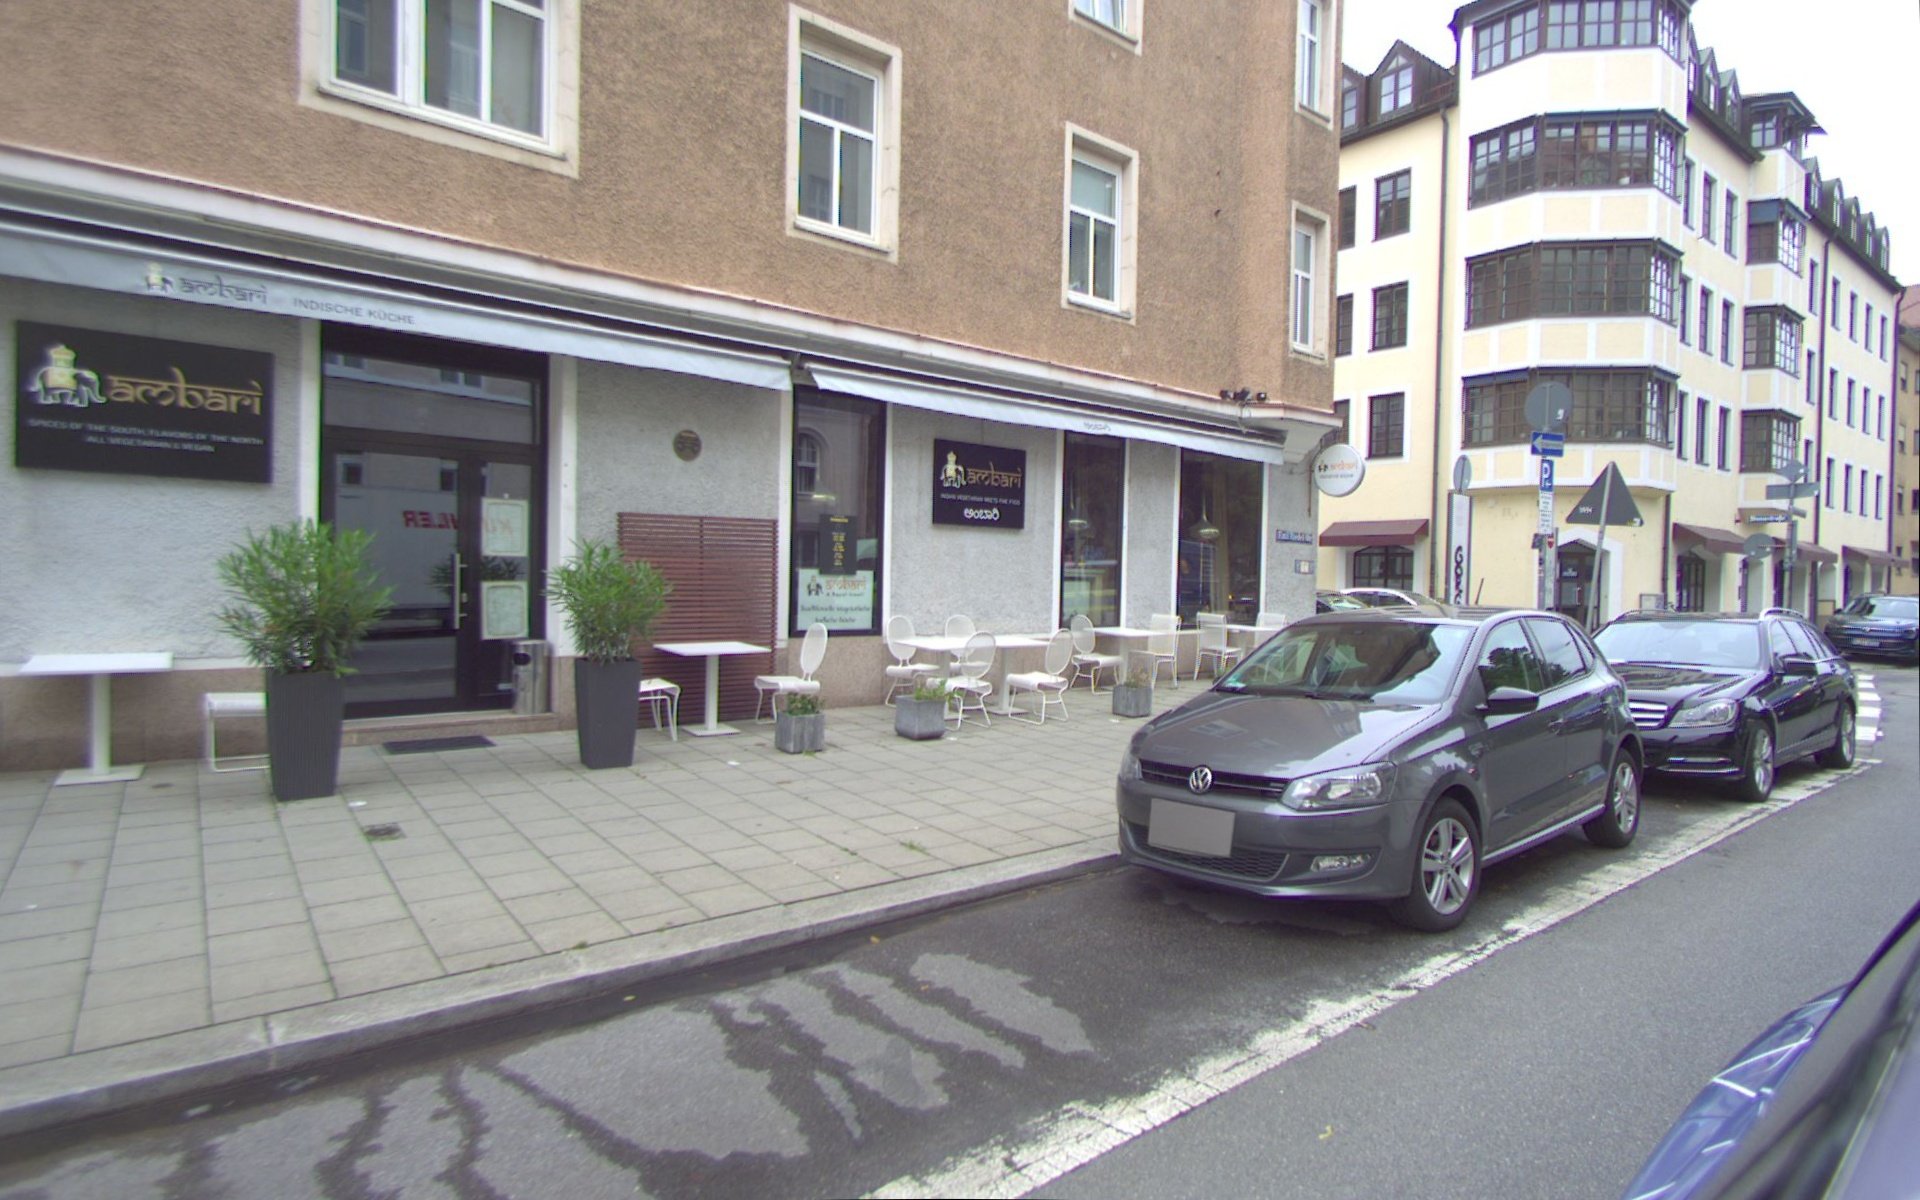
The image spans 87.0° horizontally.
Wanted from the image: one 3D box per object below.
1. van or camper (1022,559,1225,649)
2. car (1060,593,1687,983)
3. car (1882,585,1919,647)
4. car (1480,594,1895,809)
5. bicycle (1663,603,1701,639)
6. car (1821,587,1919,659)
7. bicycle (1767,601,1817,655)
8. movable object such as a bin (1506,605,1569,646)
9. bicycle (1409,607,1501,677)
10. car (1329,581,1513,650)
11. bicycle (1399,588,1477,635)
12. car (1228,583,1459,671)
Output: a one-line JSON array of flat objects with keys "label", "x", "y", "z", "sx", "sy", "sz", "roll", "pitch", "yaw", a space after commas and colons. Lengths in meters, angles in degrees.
[{"label": "van or camper", "x": 3.826, "y": -0.009, "z": 24.502, "sx": 1.925, "sy": 1.942, "sz": 4.915, "roll": -2, "pitch": 3, "yaw": -37}, {"label": "car", "x": 2.573, "y": 0.699, "z": 5.760, "sx": 4.109, "sy": 1.411, "sz": 1.575, "roll": -1, "pitch": 2, "yaw": -40}, {"label": "car", "x": 27.551, "y": 0.457, "z": 28.160, "sx": 4.085, "sy": 1.607, "sz": 1.821, "roll": -1, "pitch": 6, "yaw": -35}, {"label": "car", "x": 6.665, "y": 0.676, "z": 9.058, "sx": 4.702, "sy": 1.422, "sz": 1.851, "roll": 0, "pitch": 1, "yaw": -39}, {"label": "bicycle", "x": 19.395, "y": 0.559, "z": 27.180, "sx": 1.664, "sy": 0.912, "sz": 0.263, "roll": -1, "pitch": 6, "yaw": -37}, {"label": "car", "x": 23.351, "y": 0.511, "z": 25.182, "sx": 4.415, "sy": 1.642, "sz": 2.112, "roll": 0, "pitch": 2, "yaw": -38}, {"label": "bicycle", "x": 19.477, "y": 0.625, "z": 23.681, "sx": 2.015, "sy": 1.173, "sz": 0.430, "roll": -1, "pitch": 3, "yaw": -38}, {"label": "movable object such as a bin", "x": 13.898, "y": 0.608, "z": 24.367, "sx": 0.671, "sy": 0.911, "sz": 1.126, "roll": 0, "pitch": 2, "yaw": -37}, {"label": "bicycle", "x": 7.846, "y": 0.653, "z": 16.018, "sx": 1.769, "sy": 1.017, "sz": 0.497, "roll": 2, "pitch": 2, "yaw": -36}, {"label": "car", "x": 11.278, "y": 0.345, "z": 24.972, "sx": 1.717, "sy": 1.458, "sz": 3.748, "roll": 3, "pitch": 0, "yaw": -34}, {"label": "bicycle", "x": 13.188, "y": 0.292, "z": 27.945, "sx": 0.506, "sy": 1.201, "sz": 1.906, "roll": 0, "pitch": 2, "yaw": -37}, {"label": "car", "x": 7.495, "y": 0.443, "z": 20.069, "sx": 1.858, "sy": 1.506, "sz": 3.883, "roll": -1, "pitch": 2, "yaw": -38}]
